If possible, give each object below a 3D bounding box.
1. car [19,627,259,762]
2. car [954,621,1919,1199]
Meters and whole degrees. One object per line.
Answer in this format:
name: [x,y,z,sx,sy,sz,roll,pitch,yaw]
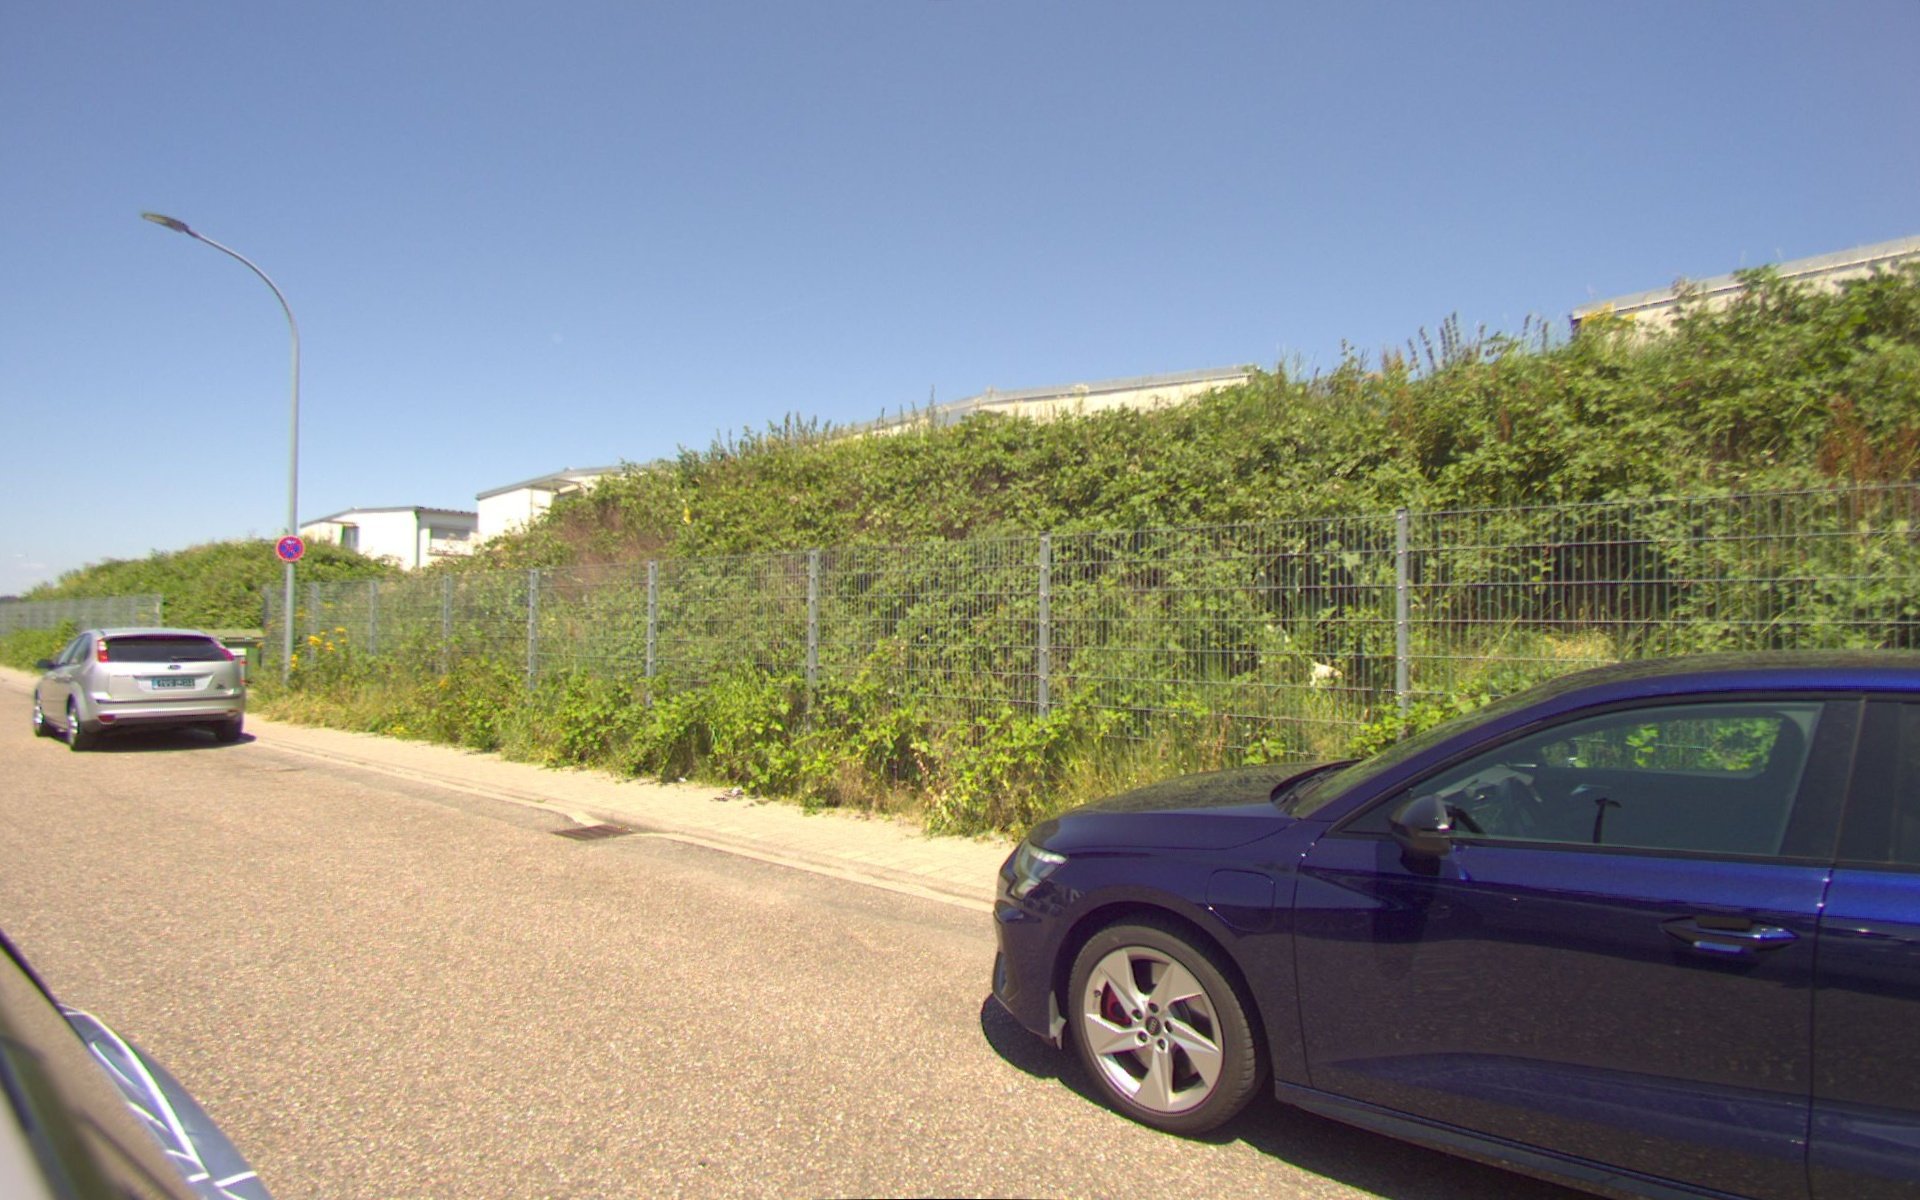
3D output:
car: [-11.045,1.158,13.530,3.946,1.531,1.829,-2,-4,41]
car: [2.245,0.818,2.785,4.275,1.466,1.916,-2,-4,38]
